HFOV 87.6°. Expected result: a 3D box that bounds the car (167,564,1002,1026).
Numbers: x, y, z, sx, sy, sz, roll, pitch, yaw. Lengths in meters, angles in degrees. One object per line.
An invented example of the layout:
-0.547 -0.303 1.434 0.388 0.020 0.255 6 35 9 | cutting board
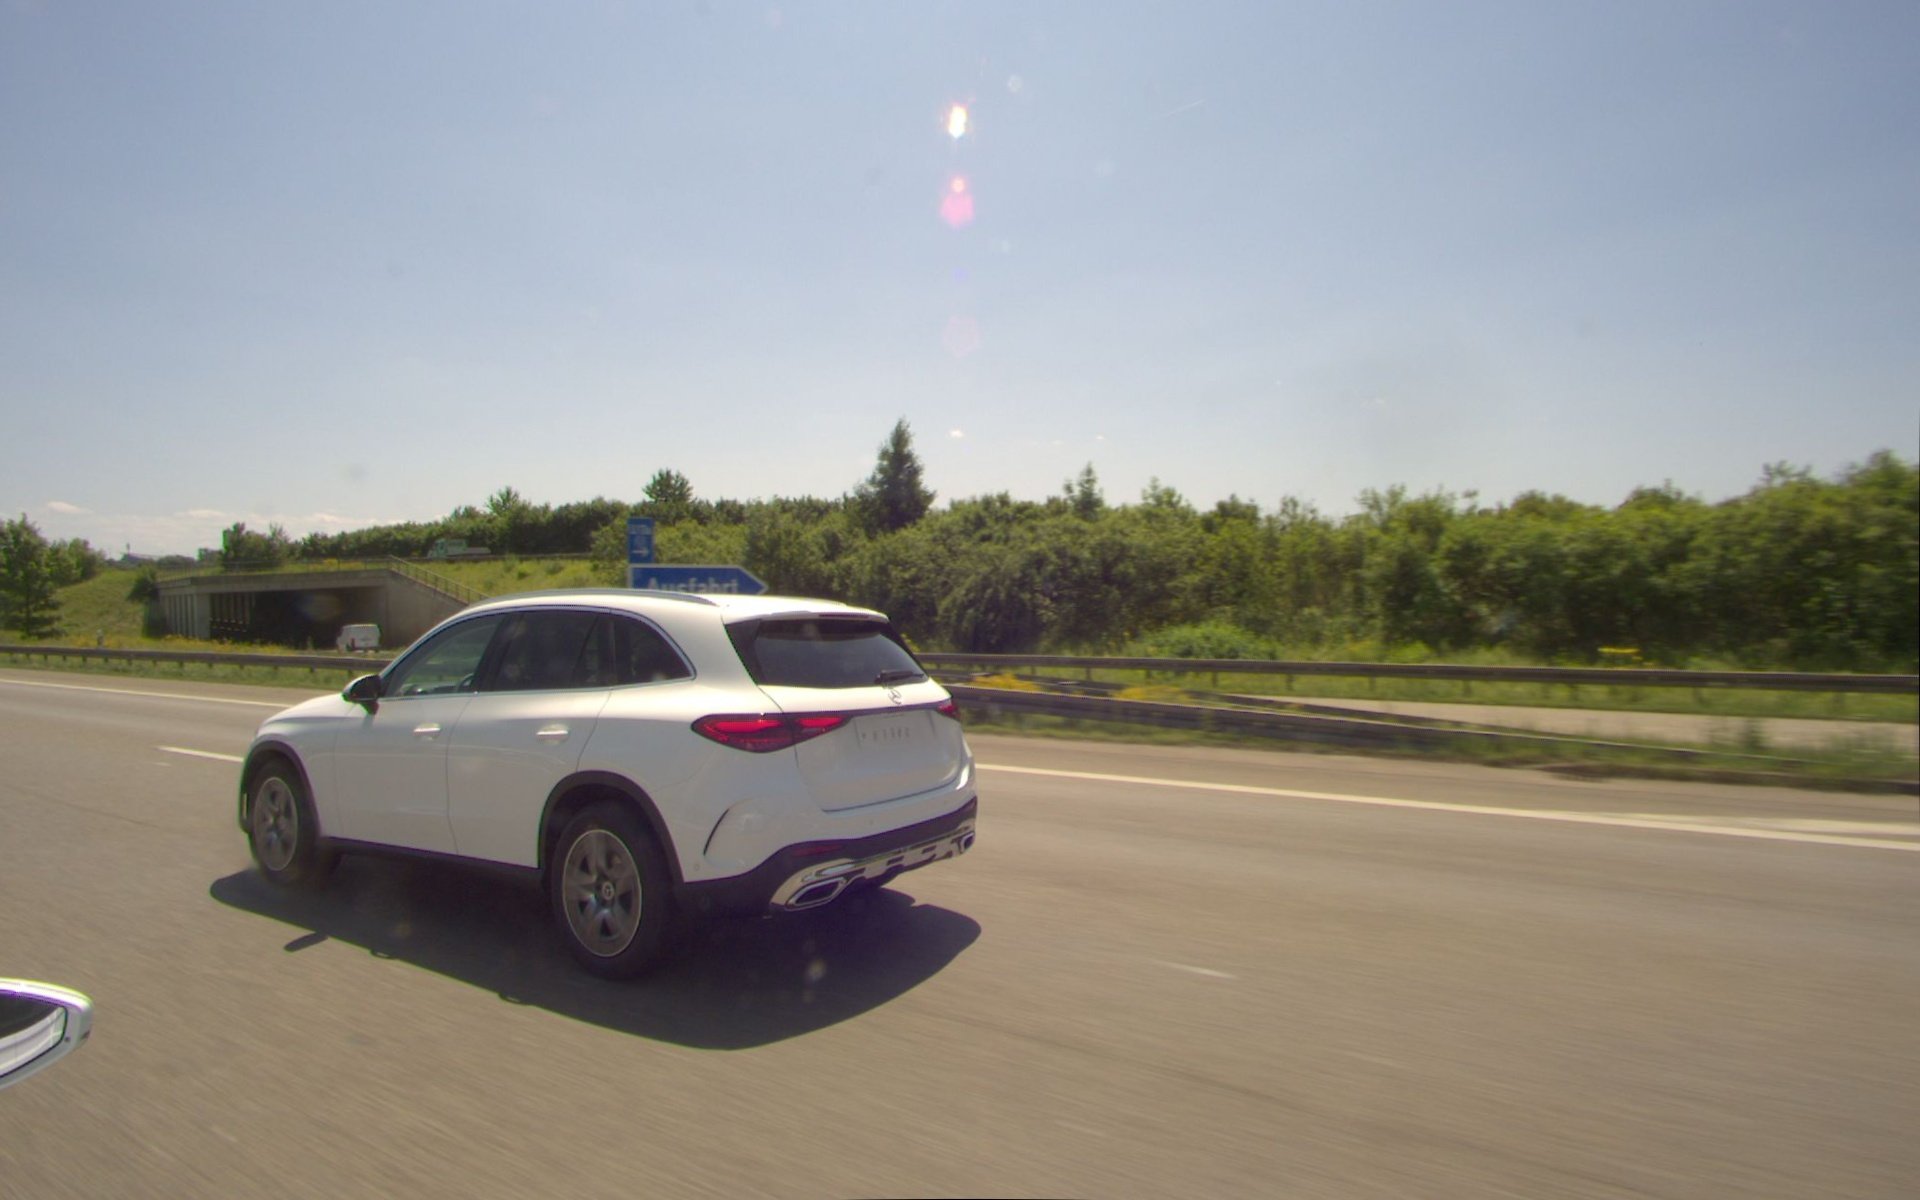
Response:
-2.367 0.804 5.745 4.927 1.668 1.895 -2 -2 32 | car

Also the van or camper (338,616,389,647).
-40.974 2.199 68.794 2.142 2.039 4.264 0 -2 -44 | van or camper
